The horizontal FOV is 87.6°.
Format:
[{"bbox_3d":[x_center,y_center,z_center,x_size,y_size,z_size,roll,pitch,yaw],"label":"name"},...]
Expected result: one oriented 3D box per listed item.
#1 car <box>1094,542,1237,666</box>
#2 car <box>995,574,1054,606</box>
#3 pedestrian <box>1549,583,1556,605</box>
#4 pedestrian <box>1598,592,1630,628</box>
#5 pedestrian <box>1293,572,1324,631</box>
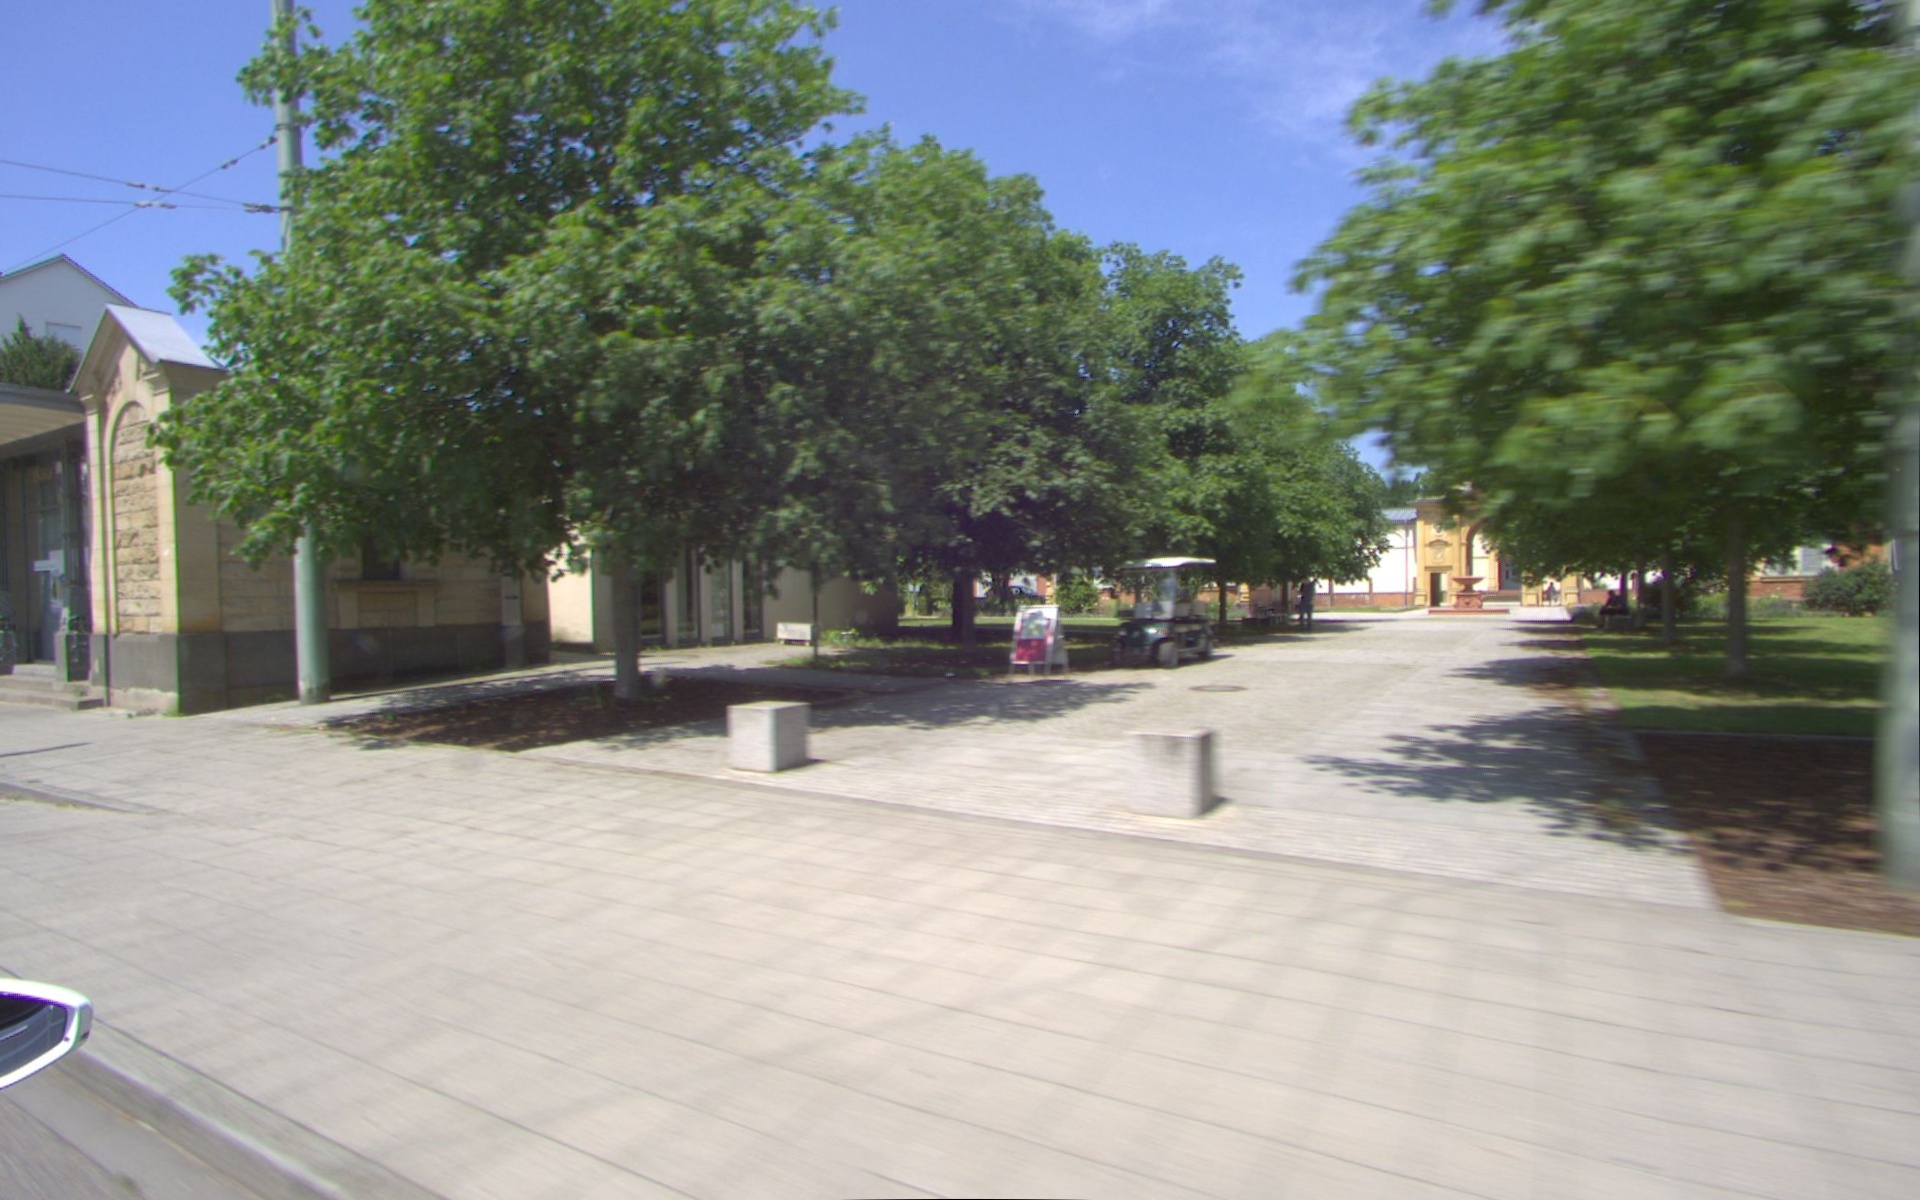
[{"bbox_3d":[3.827,0.063,18.311,1.444,2.040,3.323,-2,0,32],"label":"car"},{"bbox_3d":[4.278,-0.647,66.394,3.591,2.020,1.670,0,1,32],"label":"car"},{"bbox_3d":[41.141,-0.389,69.475,0.410,1.508,0.501,0,2,31],"label":"pedestrian"},{"bbox_3d":[20.762,0.314,31.789,0.819,1.129,0.792,0,2,32],"label":"pedestrian"},{"bbox_3d":[10.832,0.052,31.119,0.757,1.817,0.770,0,1,30],"label":"pedestrian"}]
